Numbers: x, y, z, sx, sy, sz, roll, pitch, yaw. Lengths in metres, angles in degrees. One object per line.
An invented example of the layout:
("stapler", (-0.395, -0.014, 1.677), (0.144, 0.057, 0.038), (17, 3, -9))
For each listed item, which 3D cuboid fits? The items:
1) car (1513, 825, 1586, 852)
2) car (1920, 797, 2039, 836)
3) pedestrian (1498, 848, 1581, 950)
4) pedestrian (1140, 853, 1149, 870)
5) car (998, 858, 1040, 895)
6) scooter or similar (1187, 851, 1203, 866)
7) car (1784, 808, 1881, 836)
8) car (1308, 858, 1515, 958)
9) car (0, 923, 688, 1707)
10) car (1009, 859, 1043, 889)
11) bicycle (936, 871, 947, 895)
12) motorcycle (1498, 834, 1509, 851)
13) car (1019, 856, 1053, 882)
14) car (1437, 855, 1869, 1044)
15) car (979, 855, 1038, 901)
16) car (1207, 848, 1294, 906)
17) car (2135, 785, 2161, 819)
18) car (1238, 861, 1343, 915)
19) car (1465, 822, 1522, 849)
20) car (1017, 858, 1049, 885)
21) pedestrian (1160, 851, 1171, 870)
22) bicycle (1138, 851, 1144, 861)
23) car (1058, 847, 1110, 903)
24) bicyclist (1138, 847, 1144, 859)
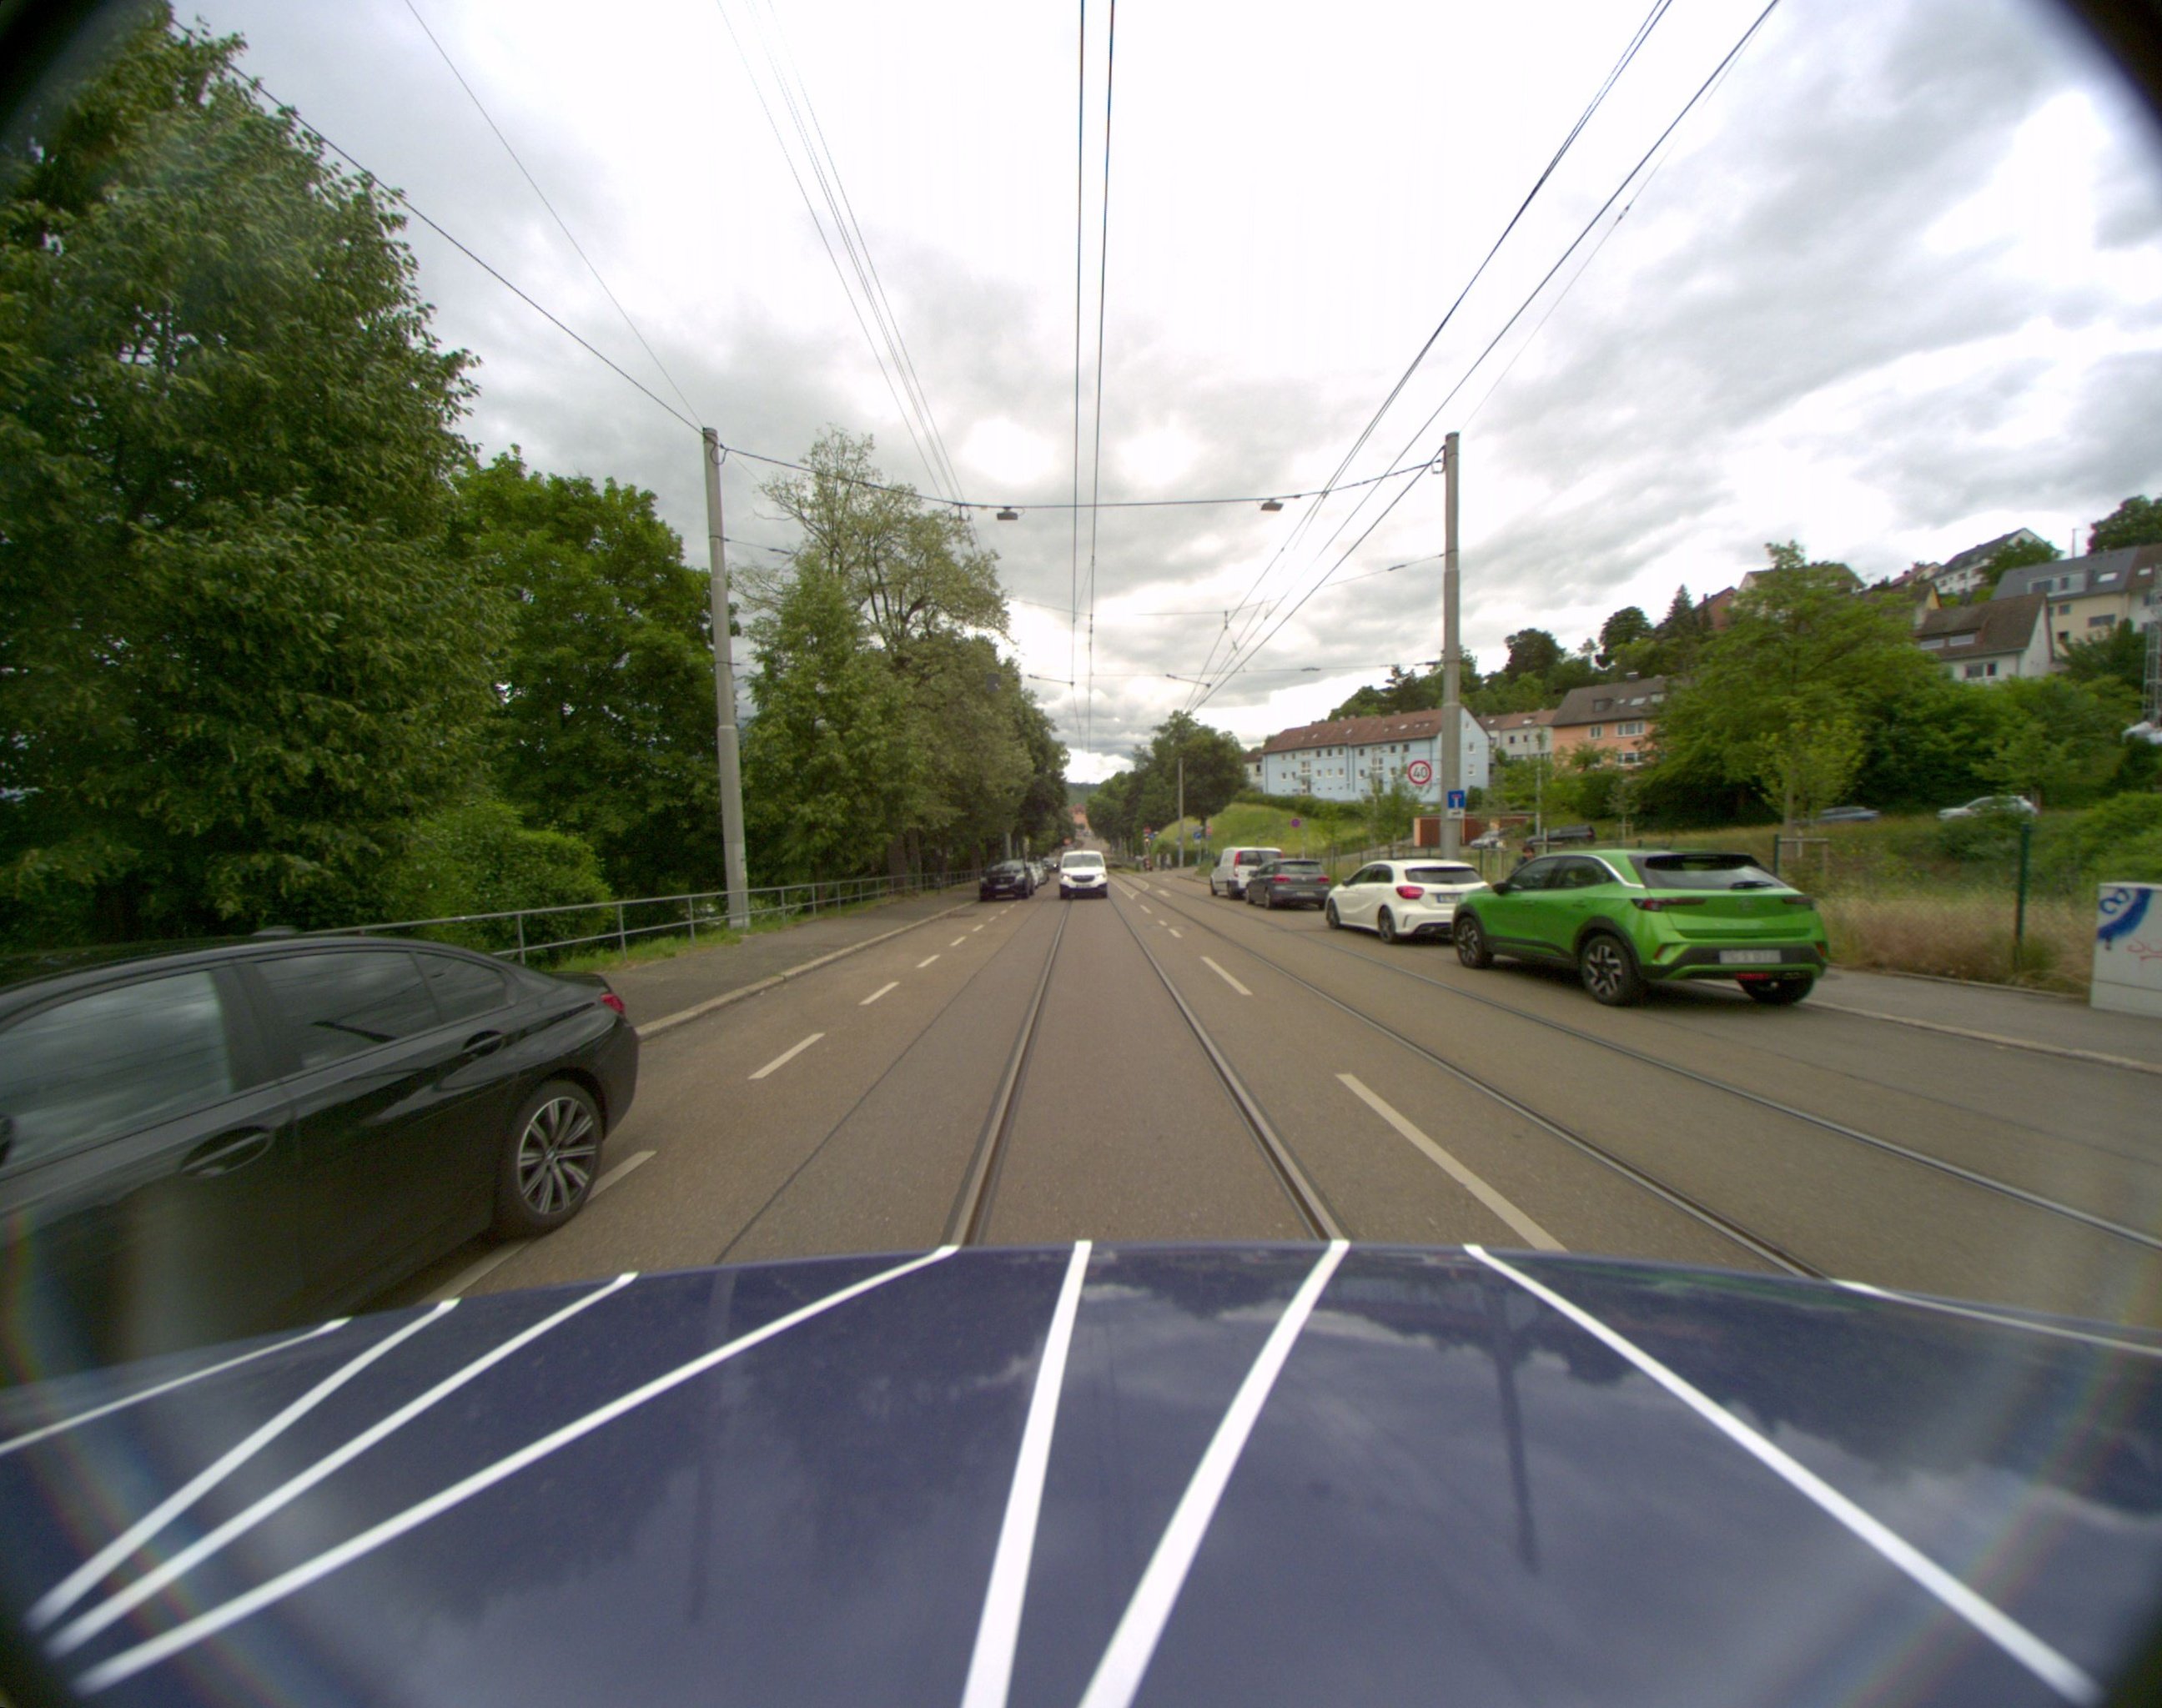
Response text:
("car", (35.855, -1.161, 58.216), (4.440, 1.680, 1.981), (-5, -1, 38))
("car", (51.689, -2.139, 43.854), (4.120, 2.002, 1.986), (-1, 2, 39))
("pedestrian", (7.649, 0.728, 12.717), (0.806, 1.619, 0.916), (-2, 1, 2))
("pedestrian", (6.079, 0.702, 72.593), (0.752, 1.565, 0.757), (-2, 1, 7))
("car", (-3.108, 1.090, 38.596), (1.730, 1.622, 4.087), (-5, 0, -1))
("scooter or similar", (11.160, 0.431, 74.406), (1.412, 1.282, 0.418), (-6, 1, 1))
("car", (46.715, -1.991, 47.345), (4.120, 1.503, 1.986), (-1, 1, 40))
("car", (5.910, 0.862, 14.305), (1.890, 1.517, 4.663), (0, 1, 0))
("car", (-3.272, 1.196, 2.026), (1.832, 1.421, 4.846), (-4, 1, 0))
("car", (-3.129, 1.116, 43.485), (1.633, 1.507, 4.063), (-4, 0, -1))
("bicycle", (-6.410, 1.319, 35.020), (0.428, 0.970, 1.793), (-2, 1, -10))
("motorcycle", (32.617, -0.898, 58.601), (0.520, 1.151, 1.707), (-1, 5, 36))
("car", (-3.159, 1.030, 54.124), (1.909, 1.605, 4.600), (-3, 0, 2))
("car", (5.808, 0.810, 8.510), (1.727, 1.570, 4.180), (-1, 0, 1))
("car", (-3.005, 0.951, 32.564), (1.882, 1.668, 5.062), (-4, 0, 1))
("car", (6.132, 0.759, 28.158), (2.041, 1.871, 4.884), (1, 1, -1))
("car", (57.961, -2.770, 38.818), (4.471, 1.778, 1.905), (-1, 2, 40))
("car", (6.135, 0.944, 22.815), (1.901, 1.424, 4.511), (0, 0, 0))
("car", (34.441, -1.552, 63.464), (4.885, 1.604, 1.995), (-9, 5, -32))
("car", (-3.041, 1.106, 49.040), (1.738, 1.566, 4.364), (-2, 0, 0))
("pedestrian", (8.128, 0.615, 73.198), (0.901, 1.740, 0.743), (-2, 2, 14))
("bicycle", (7.919, 0.255, 100.586), (0.752, 1.232, 2.867), (-3, -1, 4))
("car", (0.162, 0.735, 29.380), (1.810, 1.910, 4.478), (-2, 1, 2))
("bicyclist", (7.929, -0.126, 101.209), (0.706, 1.619, 1.033), (-3, 0, 3))
